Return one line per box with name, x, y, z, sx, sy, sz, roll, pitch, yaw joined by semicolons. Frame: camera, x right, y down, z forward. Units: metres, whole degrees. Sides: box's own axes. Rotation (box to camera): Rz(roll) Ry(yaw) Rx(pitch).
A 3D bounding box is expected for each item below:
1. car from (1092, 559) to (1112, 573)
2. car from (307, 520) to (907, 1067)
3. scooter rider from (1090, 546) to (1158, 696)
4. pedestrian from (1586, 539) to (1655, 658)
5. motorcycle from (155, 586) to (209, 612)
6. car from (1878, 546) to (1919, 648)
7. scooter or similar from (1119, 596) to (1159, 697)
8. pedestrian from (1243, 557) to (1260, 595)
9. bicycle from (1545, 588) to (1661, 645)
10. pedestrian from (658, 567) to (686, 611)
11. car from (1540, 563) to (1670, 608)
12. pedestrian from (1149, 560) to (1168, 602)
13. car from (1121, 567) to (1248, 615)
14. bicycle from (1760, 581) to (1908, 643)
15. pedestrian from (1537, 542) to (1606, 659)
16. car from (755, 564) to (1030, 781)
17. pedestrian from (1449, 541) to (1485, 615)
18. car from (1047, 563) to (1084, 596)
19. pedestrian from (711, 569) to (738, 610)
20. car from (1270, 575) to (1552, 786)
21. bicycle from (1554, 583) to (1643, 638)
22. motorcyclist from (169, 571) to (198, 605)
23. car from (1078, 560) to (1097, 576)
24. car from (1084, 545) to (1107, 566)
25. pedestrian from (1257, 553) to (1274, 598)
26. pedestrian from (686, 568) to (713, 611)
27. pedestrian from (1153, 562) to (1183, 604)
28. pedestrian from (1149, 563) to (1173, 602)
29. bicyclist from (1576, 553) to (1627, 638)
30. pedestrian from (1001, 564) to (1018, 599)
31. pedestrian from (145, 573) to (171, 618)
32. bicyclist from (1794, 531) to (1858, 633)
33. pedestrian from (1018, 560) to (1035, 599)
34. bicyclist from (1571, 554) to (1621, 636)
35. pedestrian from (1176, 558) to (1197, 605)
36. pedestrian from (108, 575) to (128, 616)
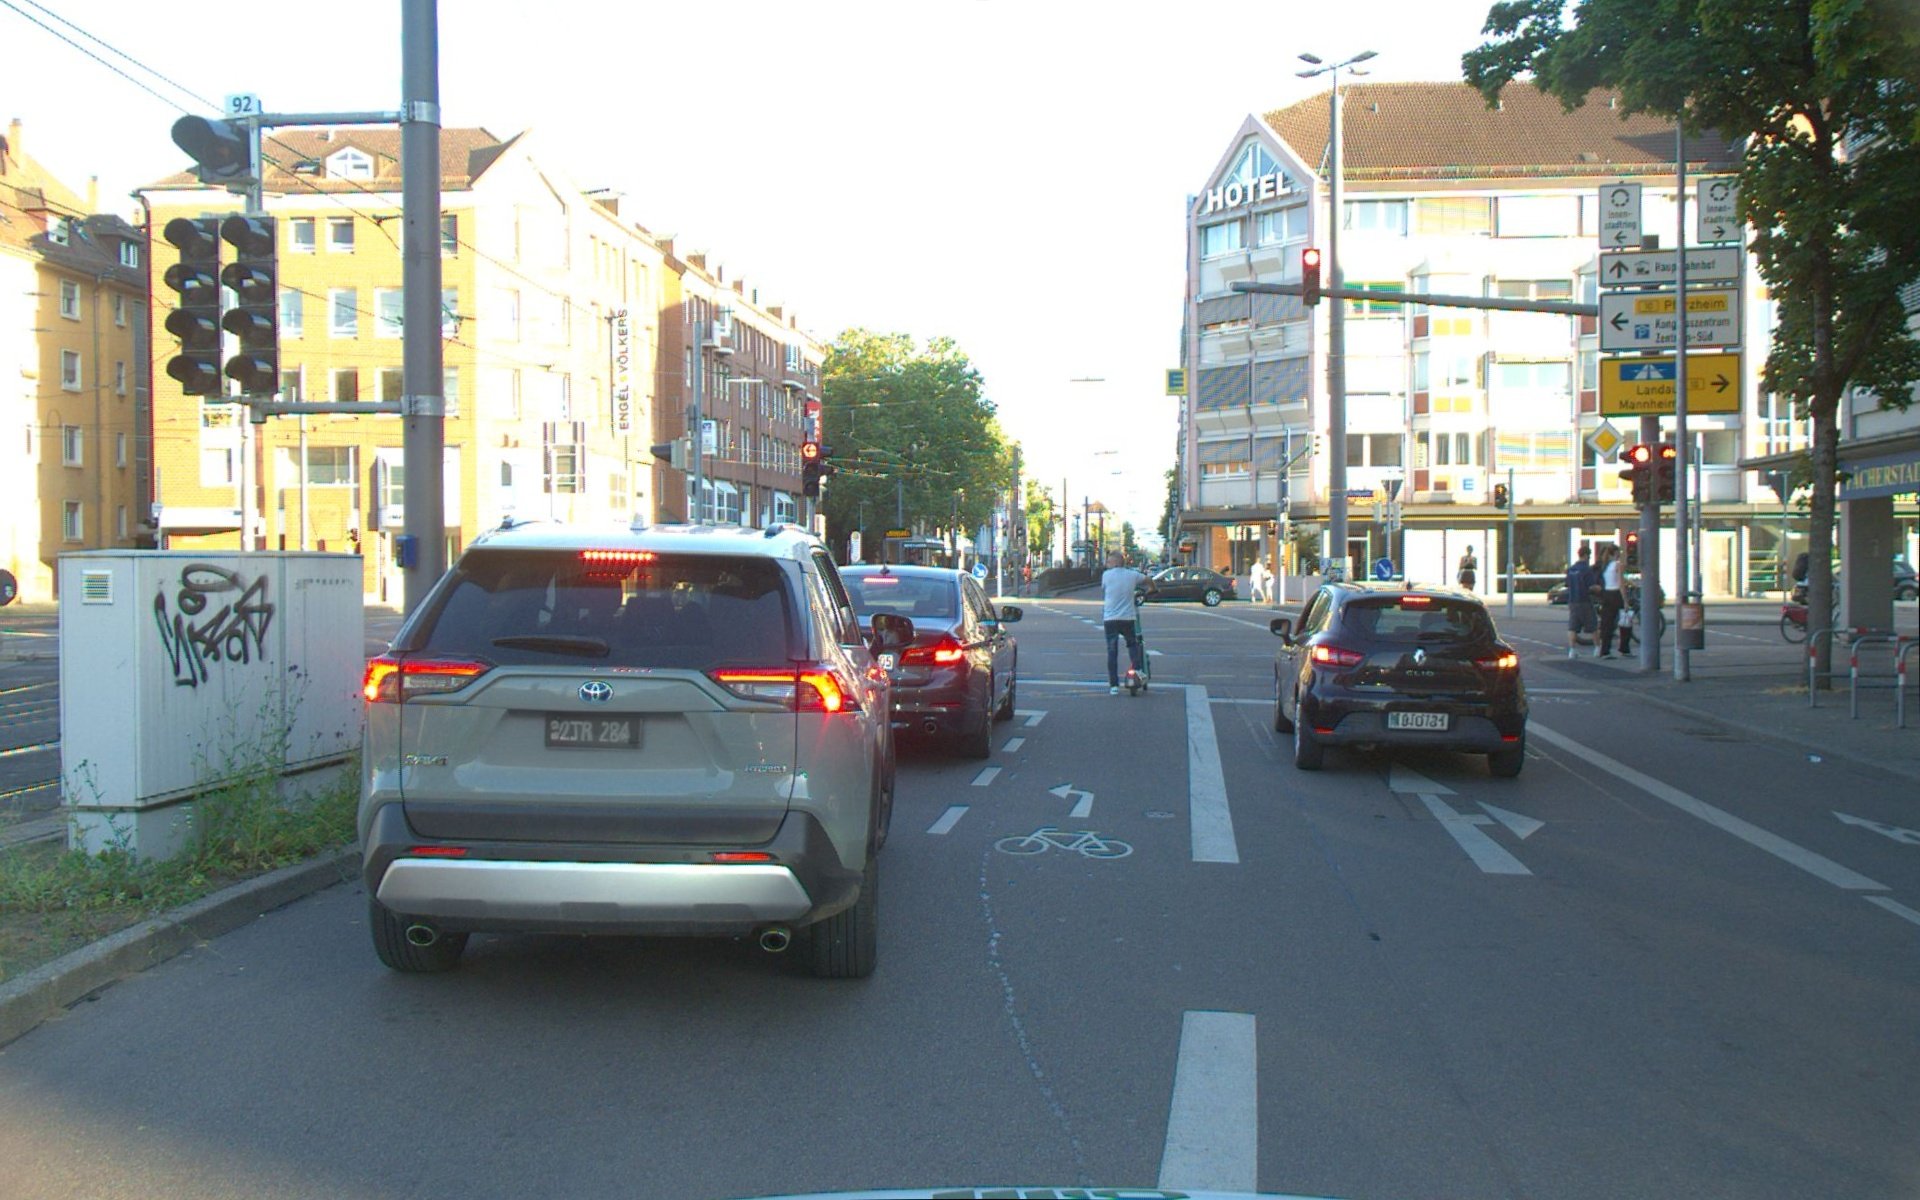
car;14.752;-3.532;171.809;1.951;1.333;4.003;0;1;5
car;-1.146;0.536;7.123;1.798;1.664;4.090;1;2;-2
scooter rider;1.899;0.231;19.111;0.648;1.675;0.661;1;1;15
pedestrian;10.561;-0.028;26.441;0.715;1.862;0.992;2;1;40
motorcycle;-28.957;-0.039;61.550;1.795;0.924;0.432;1;1;2
car;21.494;-0.086;33.699;4.585;2.048;2.001;0;1;19
scooter or similar;2.063;0.515;18.981;0.273;1.109;1.258;1;1;13
pedestrian;11.824;-0.978;66.993;0.488;1.529;0.471;-1;1;-31
bicycle;11.969;0.302;30.810;1.994;1.046;0.417;1;1;2
pedestrian;-13.785;-0.523;79.195;1.070;2.048;0.909;1;1;5
car;23.053;-0.529;59.209;3.903;1.502;2.001;1;1;5
pedestrian;10.516;-1.010;87.834;0.912;2.234;0.853;1;1;4
car;8.092;-0.333;59.921;4.456;1.648;1.999;1;1;4
bicycle;16.815;0.218;31.837;2.585;1.119;0.435;1;1;1
pedestrian;9.985;0.002;26.995;0.716;1.862;0.992;2;1;41
car;-0.402;0.471;14.118;1.708;1.486;4.414;1;2;6
pedestrian;12.639;-0.550;41.247;0.730;1.809;0.801;1;1;9
car;6.019;-1.162;94.485;1.773;1.777;3.718;1;1;8
pedestrian;-11.976;-0.543;84.139;1.070;2.048;1.164;1;1;5
car;3.614;0.544;13.918;1.727;1.465;4.004;1;1;7
bicycle;12.271;0.205;31.791;1.578;1.046;0.353;0;1;0
motorcyclist;-28.926;-0.437;61.600;0.689;1.241;0.789;1;1;1
car;15.834;-3.994;205.044;1.951;1.892;4.004;0;1;9
car;13.210;-4.351;160.704;1.951;1.934;4.004;1;1;8
pedestrian;12.407;-0.985;67.100;0.488;1.805;0.471;-1;1;-31
pedestrian;-12.729;-0.517;80.734;1.070;2.048;0.909;1;1;5
pedestrian;8.864;-0.744;70.440;0.923;1.756;0.842;1;1;-34
pedestrian;8.673;-0.761;71.286;0.713;1.651;0.764;-1;1;-31
bicyclist;11.932;-0.093;30.772;0.689;1.537;0.550;-2;1;1
pedestrian;2.390;-0.898;79.752;0.686;1.693;0.809;1;1;8
pedestrian;-31.680;-0.174;65.306;0.676;1.773;0.666;1;0;33
bicyclist;16.638;-0.352;31.792;0.842;1.910;0.646;1;1;0
pedestrian;3.202;-0.975;79.515;0.686;1.854;0.809;1;1;8
bicyclist;12.217;-0.101;31.788;0.689;1.537;0.550;-2;1;0
pedestrian;11.825;-0.966;86.347;1.061;2.406;1.057;1;1;8
pedestrian;-34.429;-0.199;67.633;0.539;1.671;0.501;1;1;6
